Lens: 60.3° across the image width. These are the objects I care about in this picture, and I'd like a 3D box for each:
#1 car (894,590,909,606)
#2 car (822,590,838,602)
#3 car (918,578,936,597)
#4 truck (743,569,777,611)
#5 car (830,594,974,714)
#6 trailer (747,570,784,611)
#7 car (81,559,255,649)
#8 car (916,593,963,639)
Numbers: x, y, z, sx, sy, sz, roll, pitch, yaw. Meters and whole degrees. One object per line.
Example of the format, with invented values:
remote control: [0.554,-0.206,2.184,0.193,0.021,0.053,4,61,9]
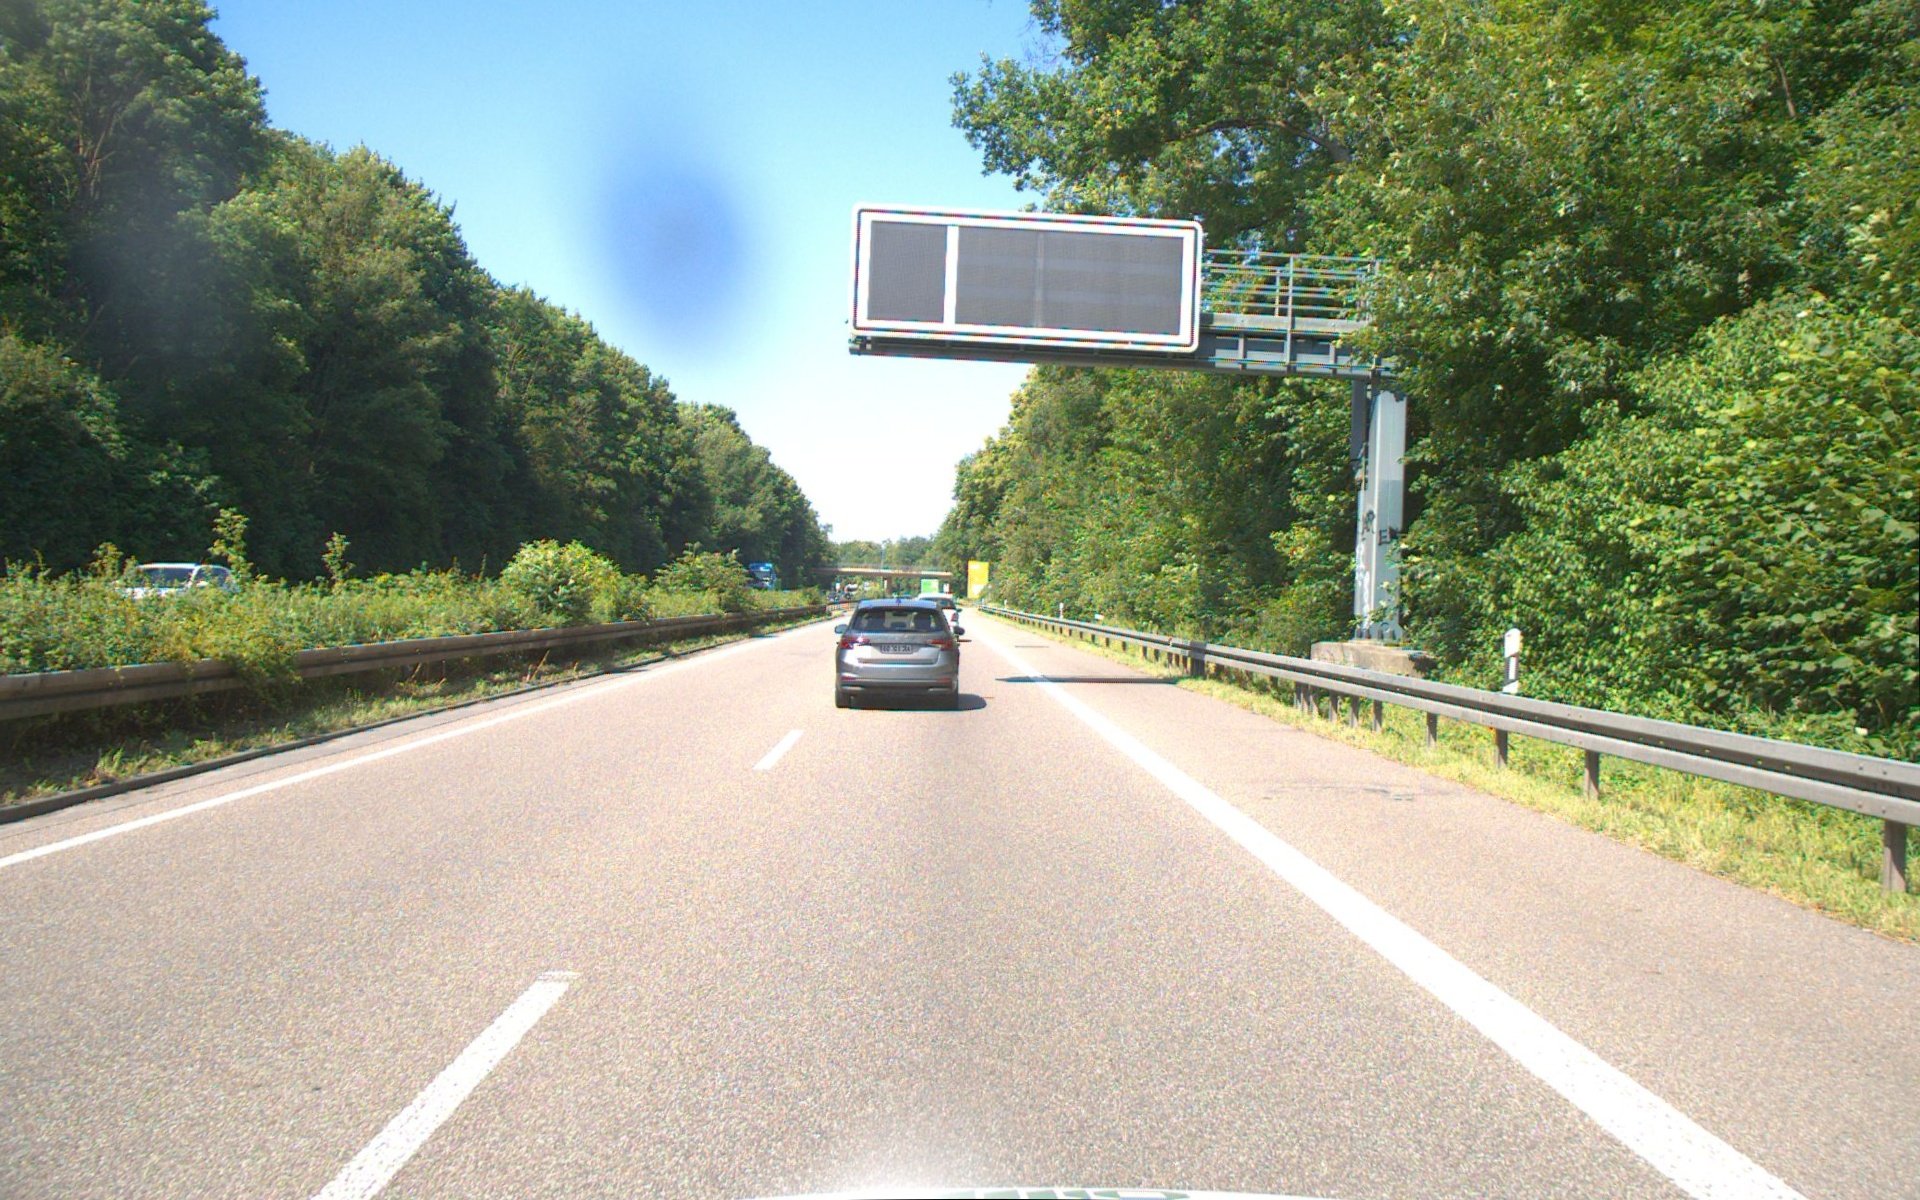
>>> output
car: [-7.817,-0.305,220.690,1.953,2.049,3.999,1,0,-1]
car: [-16.693,-0.500,212.556,1.638,1.499,3.623,1,0,1]
car: [-4.865,-1.826,244.421,2.693,2.700,3.999,1,0,-1]
truck: [-18.389,-0.879,152.504,2.592,3.771,3.999,1,0,-1]
car: [-0.725,0.686,22.998,1.802,1.497,3.623,1,0,1]
trailer: [-18.451,-0.868,157.104,2.633,3.777,7.982,1,0,-1]
car: [-15.971,0.084,33.570,1.658,1.691,3.998,1,0,-2]
car: [-0.660,0.525,55.727,1.491,1.472,3.340,1,0,1]
